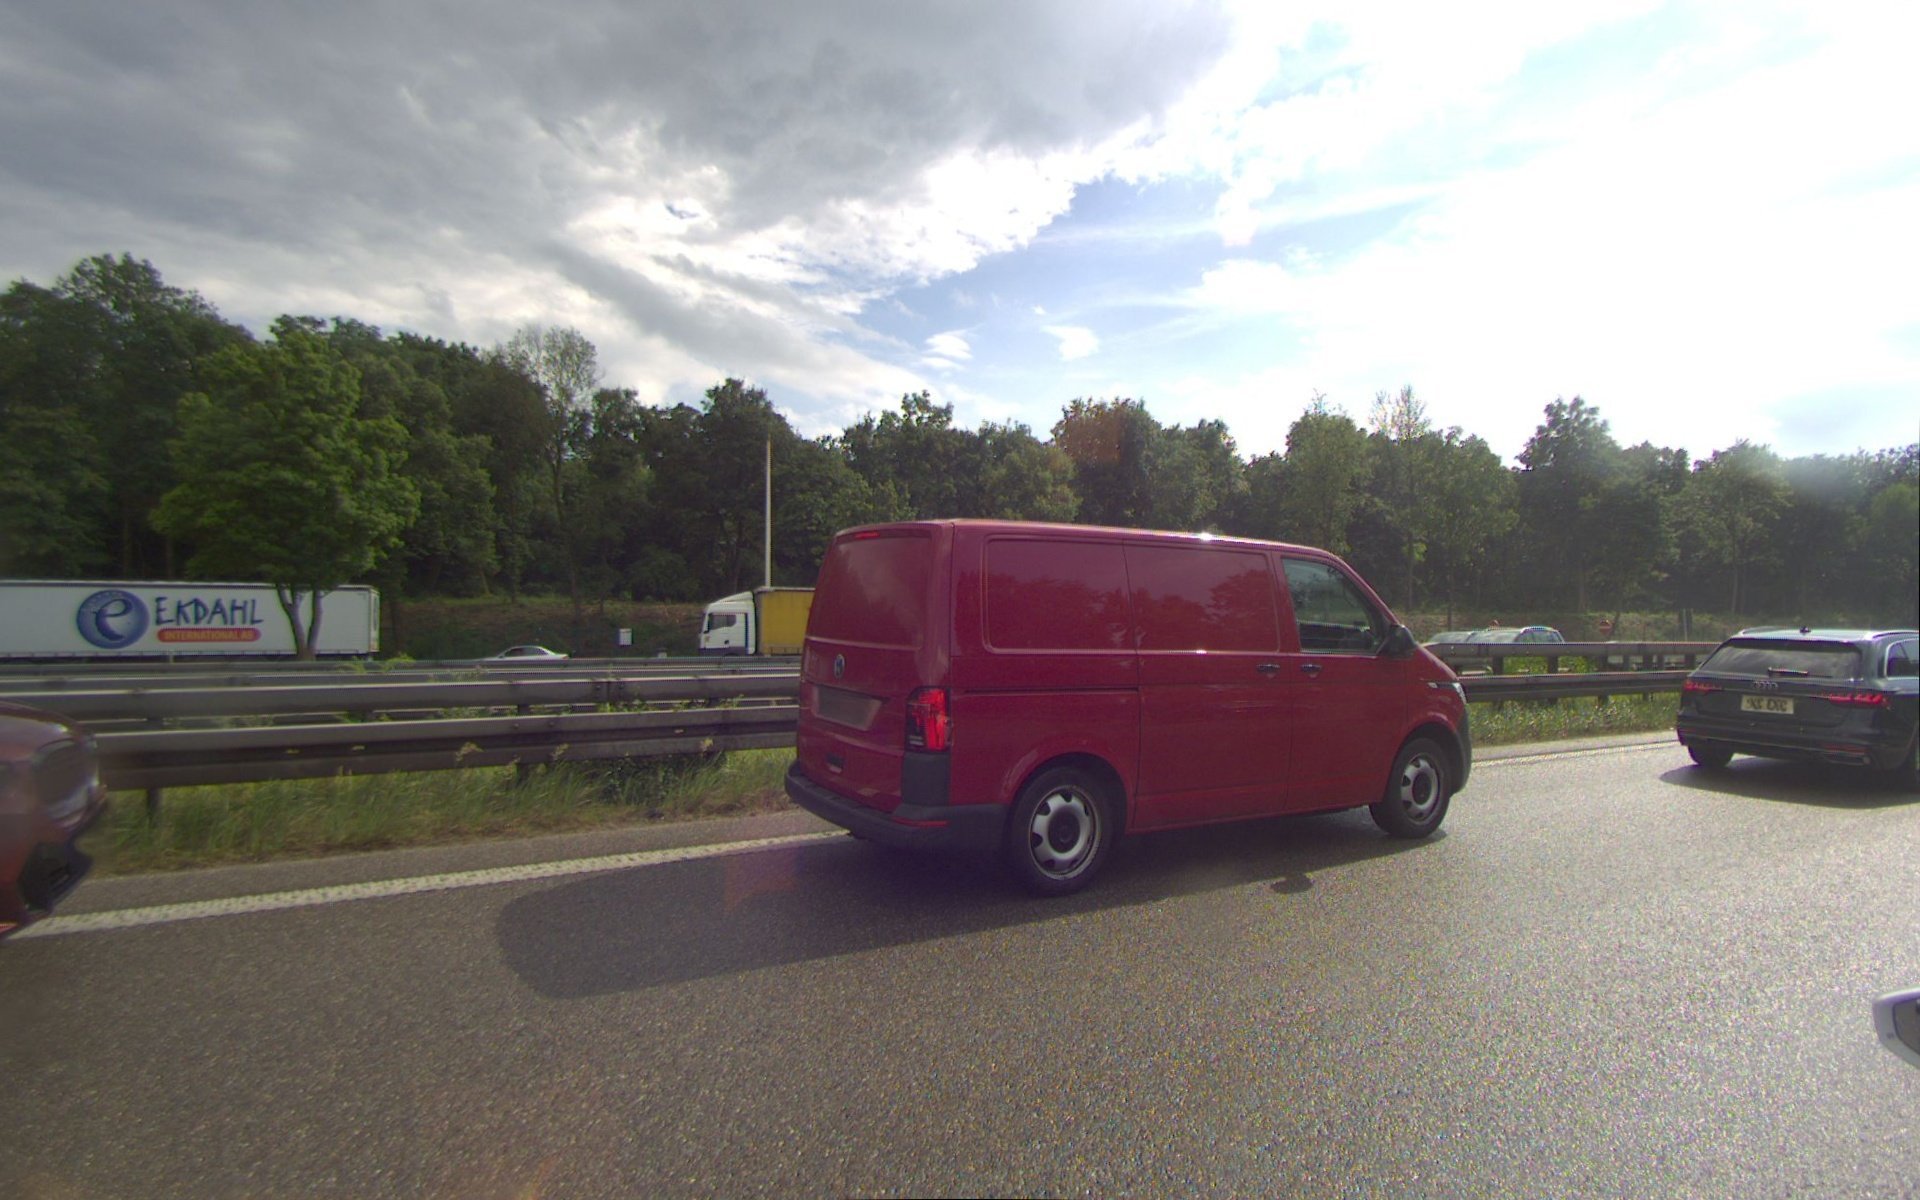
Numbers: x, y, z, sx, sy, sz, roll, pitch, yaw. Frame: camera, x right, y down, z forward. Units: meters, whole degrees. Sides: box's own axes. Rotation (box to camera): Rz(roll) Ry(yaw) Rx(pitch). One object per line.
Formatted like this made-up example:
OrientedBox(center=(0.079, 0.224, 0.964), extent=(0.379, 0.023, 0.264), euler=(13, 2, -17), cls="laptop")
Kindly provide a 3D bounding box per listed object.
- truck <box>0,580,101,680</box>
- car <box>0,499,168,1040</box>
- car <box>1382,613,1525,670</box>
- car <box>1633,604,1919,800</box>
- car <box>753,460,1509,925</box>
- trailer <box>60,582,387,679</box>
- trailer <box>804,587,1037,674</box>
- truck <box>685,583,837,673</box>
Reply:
OrientedBox(center=(-37.742, 1.076, 38.389), extent=(6.617, 3.709, 3.775), euler=(2, 0, -26), cls="truck")
OrientedBox(center=(-5.224, 0.482, 2.746), extent=(4.566, 1.658, 1.898), euler=(2, -2, -33), cls="car")
OrientedBox(center=(17.123, 1.421, 34.764), extent=(5.152, 1.799, 2.040), euler=(2, 0, -32), cls="car")
OrientedBox(center=(9.226, 0.911, 10.352), extent=(4.702, 1.585, 1.983), euler=(2, 0, -31), cls="car")
OrientedBox(center=(1.253, 0.468, 6.562), extent=(4.702, 2.082, 1.968), euler=(2, 0, -31), cls="car")
OrientedBox(center=(-30.166, 1.270, 42.007), extent=(10.353, 3.697, 3.779), euler=(1, -1, -24), cls="trailer")
OrientedBox(center=(-2.053, 1.618, 52.505), extent=(11.541, 4.171, 3.785), euler=(2, 0, -18), cls="trailer")
OrientedBox(center=(-9.934, 1.369, 49.912), extent=(6.934, 4.171, 3.785), euler=(2, 0, -18), cls="truck")
